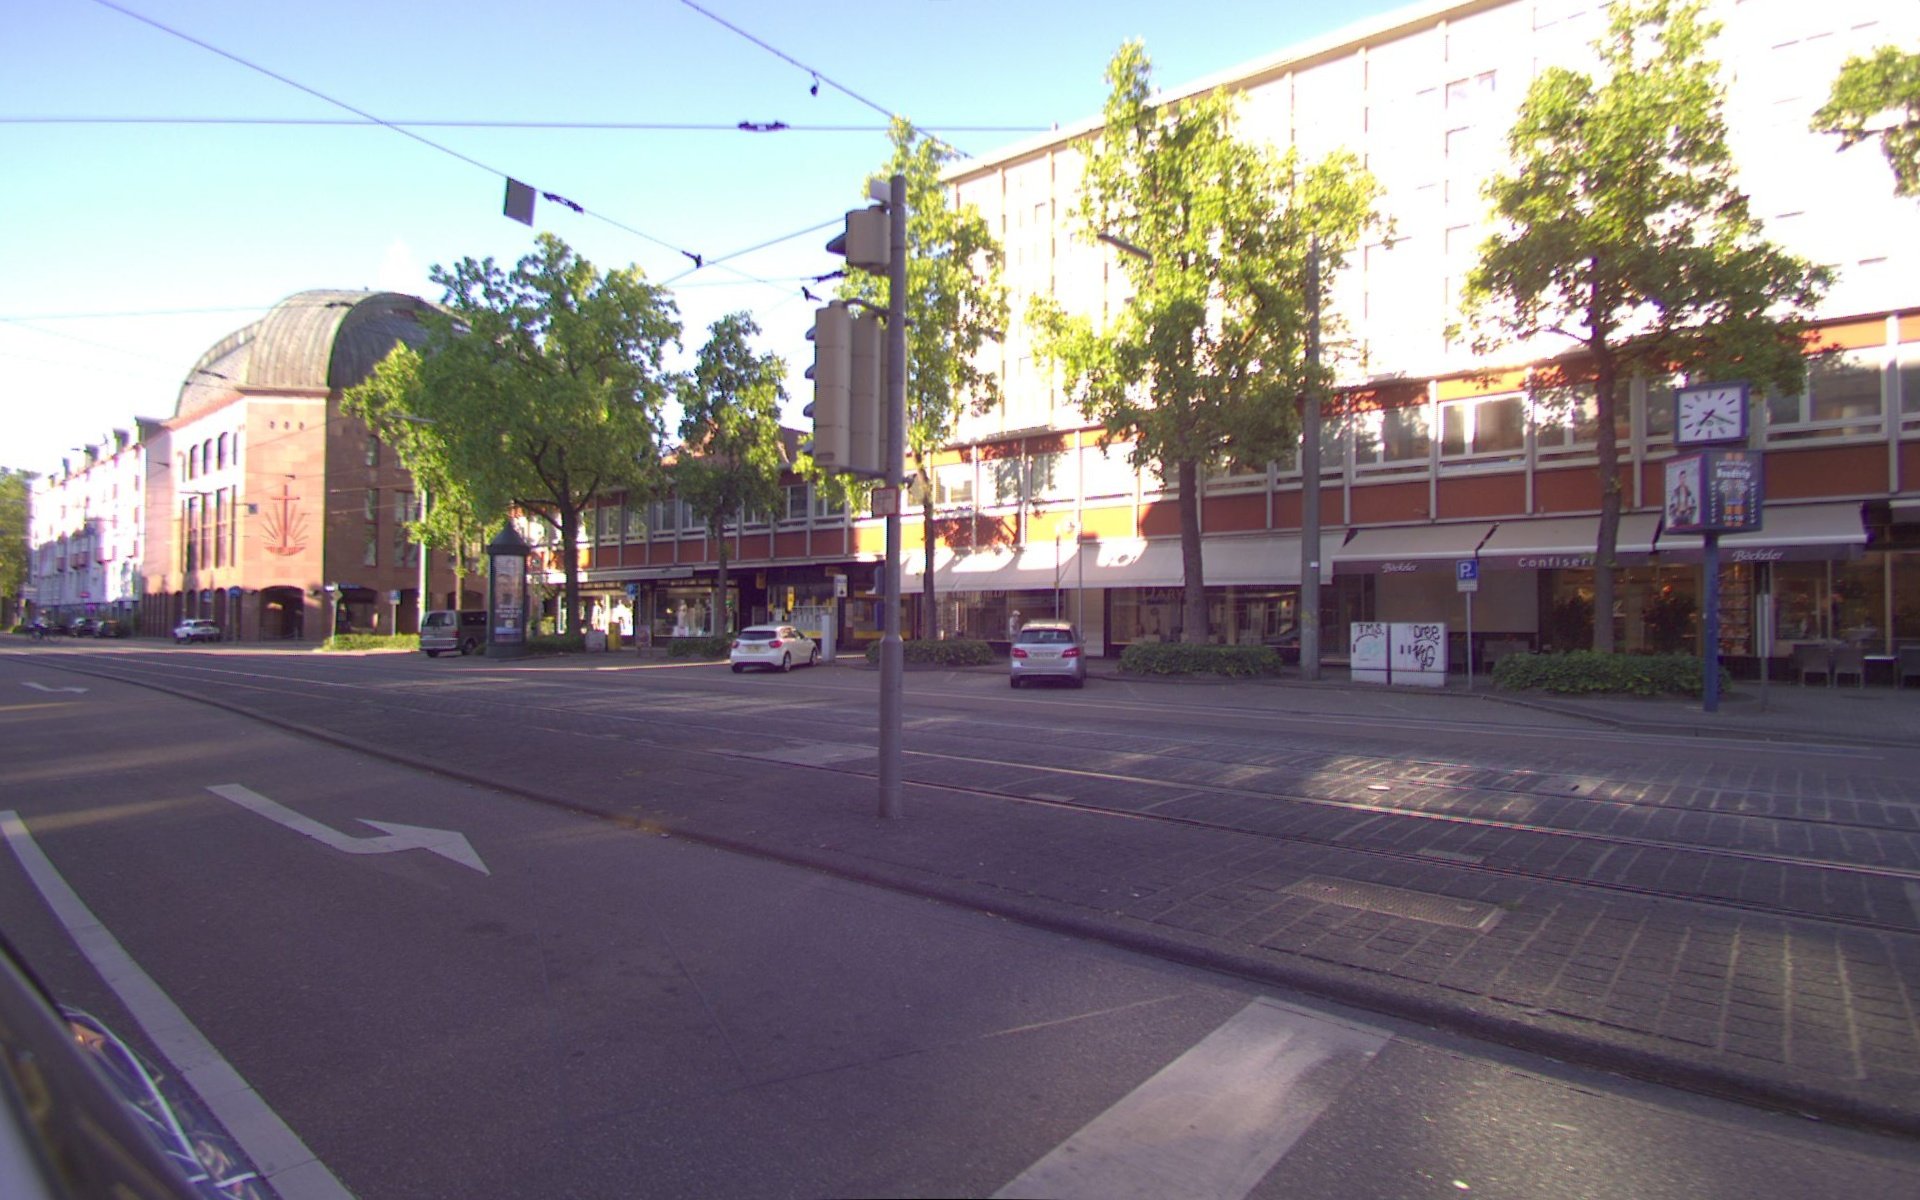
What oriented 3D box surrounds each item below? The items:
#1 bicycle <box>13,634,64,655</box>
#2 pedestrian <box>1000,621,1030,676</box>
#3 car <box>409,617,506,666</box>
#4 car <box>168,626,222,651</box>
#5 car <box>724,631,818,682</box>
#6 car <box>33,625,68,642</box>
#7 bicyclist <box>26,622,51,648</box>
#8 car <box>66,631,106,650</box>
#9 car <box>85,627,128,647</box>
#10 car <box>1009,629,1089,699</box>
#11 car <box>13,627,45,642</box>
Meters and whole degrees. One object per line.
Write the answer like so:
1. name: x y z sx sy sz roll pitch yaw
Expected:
1. bicycle: -50.404 2.446 55.365 2.006 1.100 0.674 1 -2 -9
2. pedestrian: 1.814 1.593 33.379 0.626 1.782 0.770 2 -2 -34
3. car: -21.344 1.728 43.184 1.888 1.979 3.993 0 -1 5
4. car: -50.787 2.531 67.167 3.995 1.615 1.887 -1 -1 38
5. car: -5.947 1.750 32.320 1.777 1.486 3.989 0 -1 9
6. car: -90.789 3.309 100.978 3.995 1.615 1.941 -1 -1 38
7. bicyclist: -50.419 1.925 55.383 0.751 1.433 0.674 1 -2 -9
8. car: -76.499 3.541 88.597 3.995 1.615 1.941 -1 -1 38
9. car: -71.263 3.091 84.485 3.995 1.615 1.941 -1 -1 38
10. car: 2.314 1.532 25.449 1.777 1.566 3.989 0 -1 9
11. car: -103.233 3.857 112.214 3.995 1.615 1.941 -1 -1 38
